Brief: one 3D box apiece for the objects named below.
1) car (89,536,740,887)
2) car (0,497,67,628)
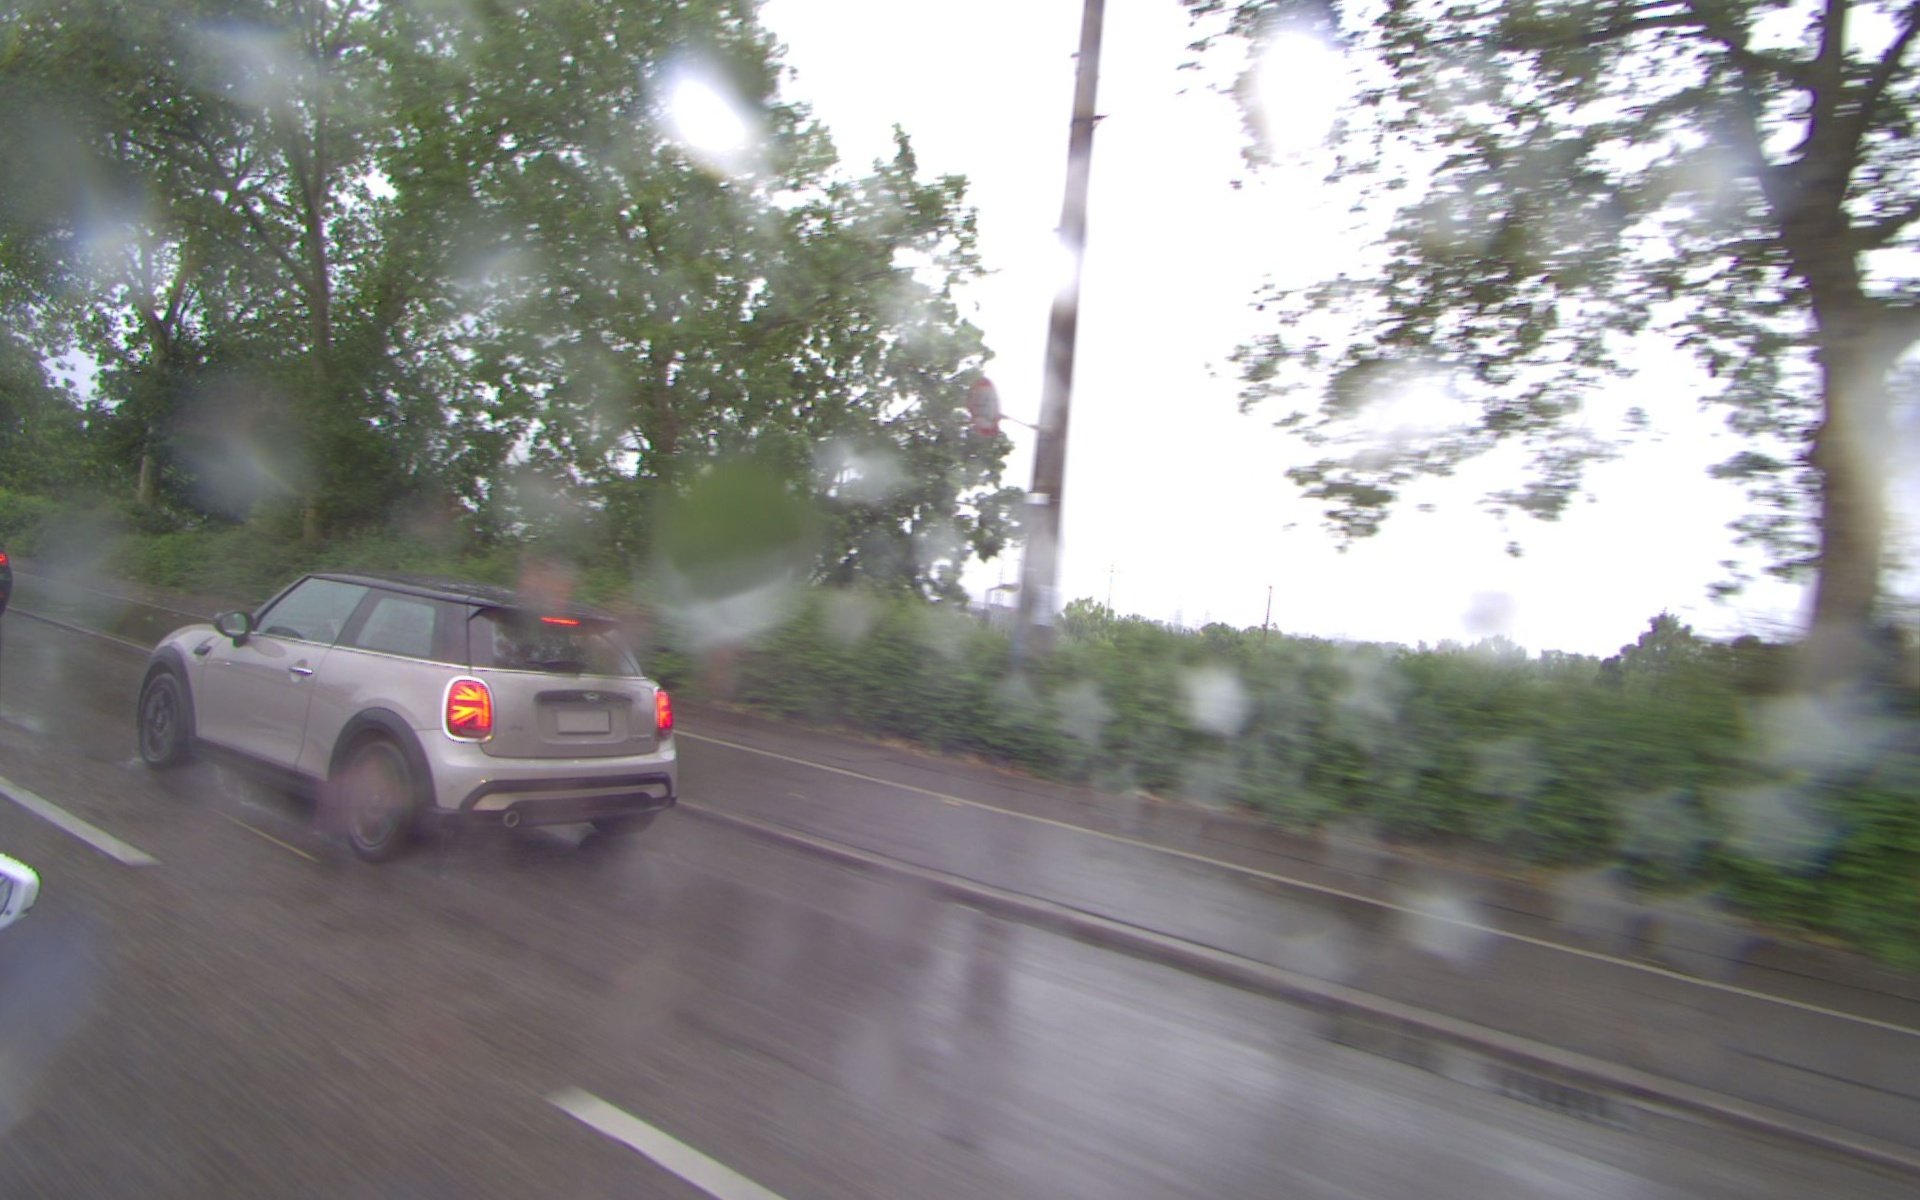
[{"bbox_3d":[-3.497,0.559,6.338,3.790,1.429,1.796,5,-4,31],"label":"car"},{"bbox_3d":[-13.586,-0.716,12.926,3.924,1.546,1.972,7,-2,31],"label":"car"}]
